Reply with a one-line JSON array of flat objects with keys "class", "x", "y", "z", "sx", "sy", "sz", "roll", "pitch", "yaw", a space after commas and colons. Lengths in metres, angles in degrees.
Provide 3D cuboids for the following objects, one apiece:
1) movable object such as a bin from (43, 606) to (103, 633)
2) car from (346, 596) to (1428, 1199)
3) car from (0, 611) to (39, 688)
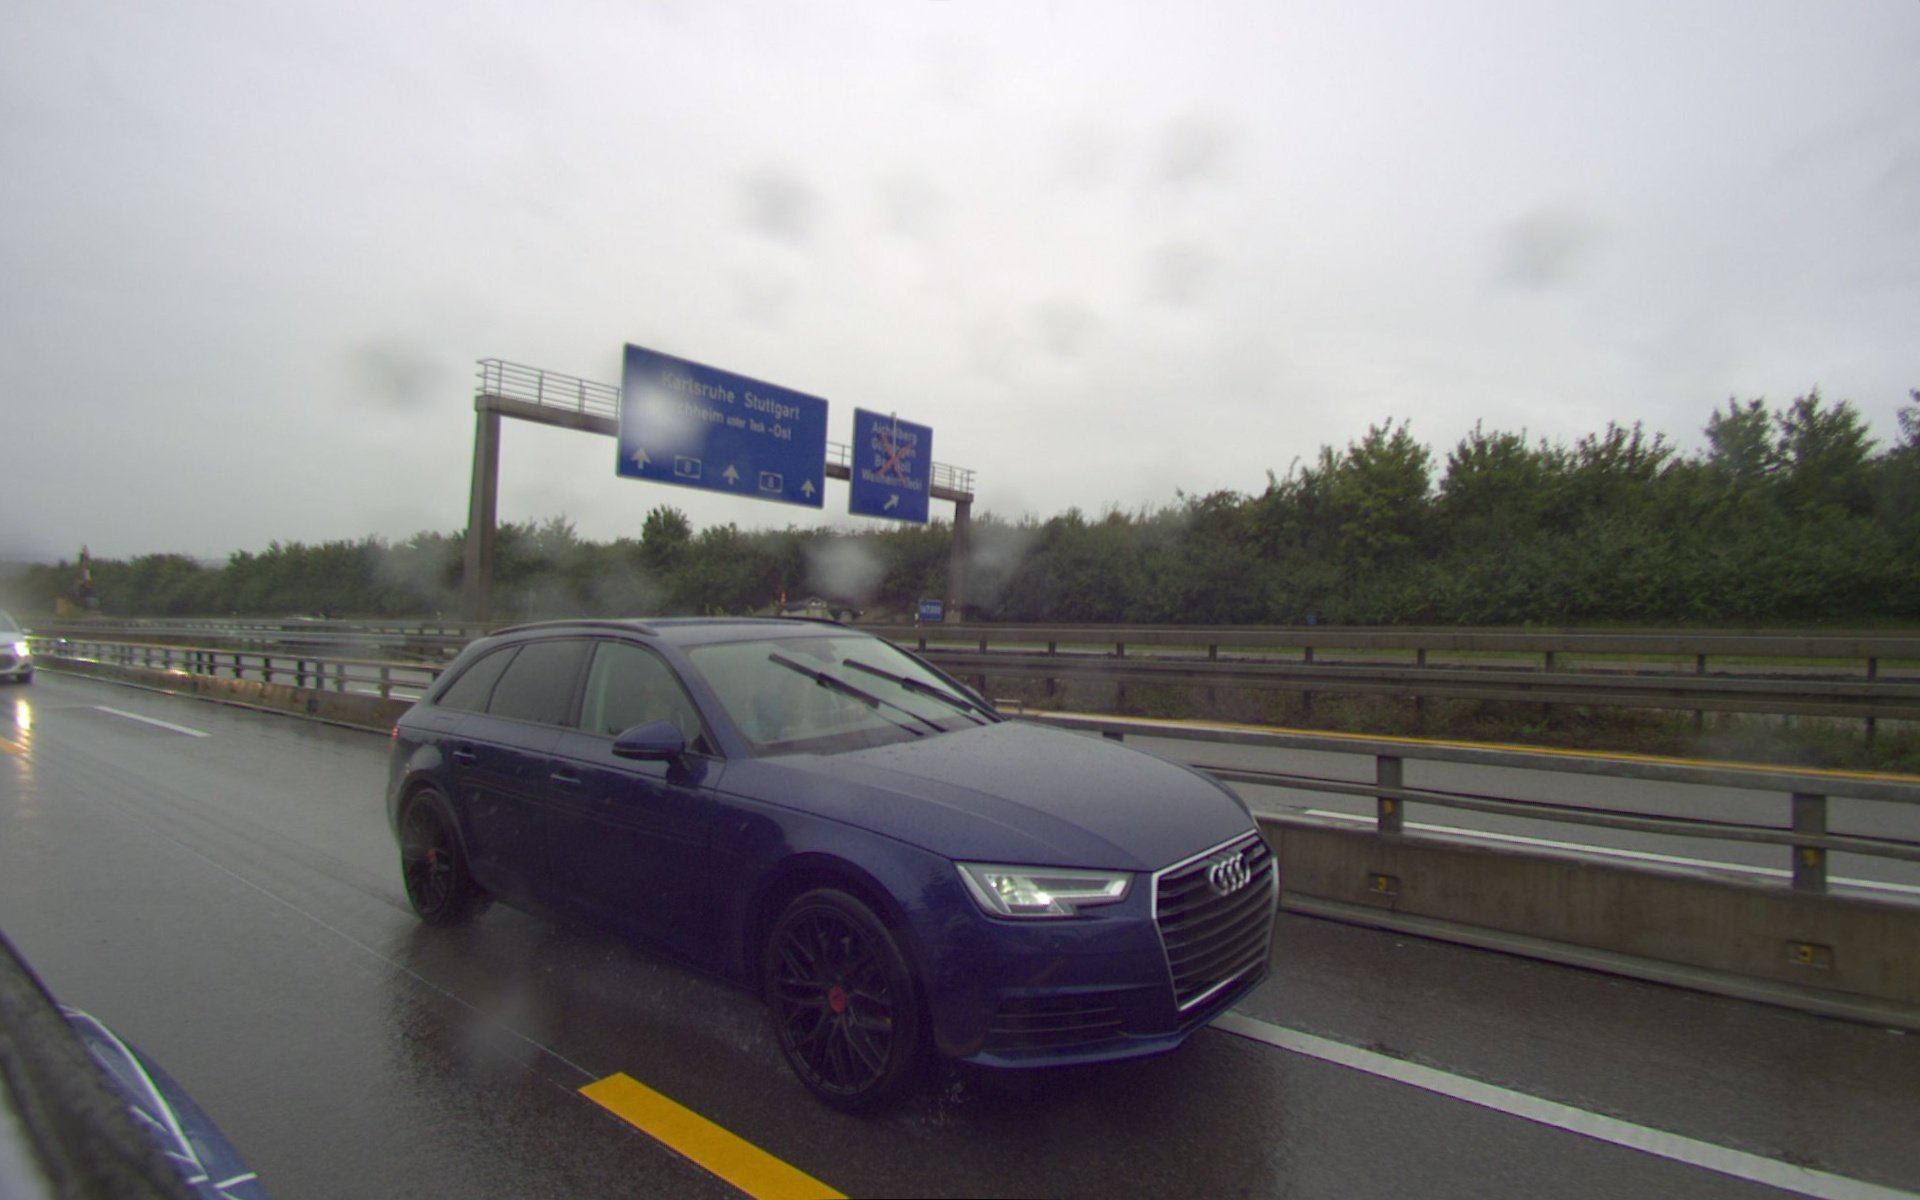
[{"class": "movable object such as a bin", "x": -94.217, "y": 2.057, "z": 107.504, "sx": 6.321, "sy": 2.819, "sz": 3.729, "roll": -1, "pitch": 0, "yaw": 38}, {"class": "car", "x": -0.707, "y": 0.768, "z": 4.385, "sx": 4.627, "sy": 1.509, "sz": 1.973, "roll": -1, "pitch": -1, "yaw": 40}, {"class": "car", "x": -21.837, "y": 1.095, "z": 22.144, "sx": 4.306, "sy": 1.608, "sz": 1.953, "roll": -2, "pitch": -2, "yaw": 40}]
